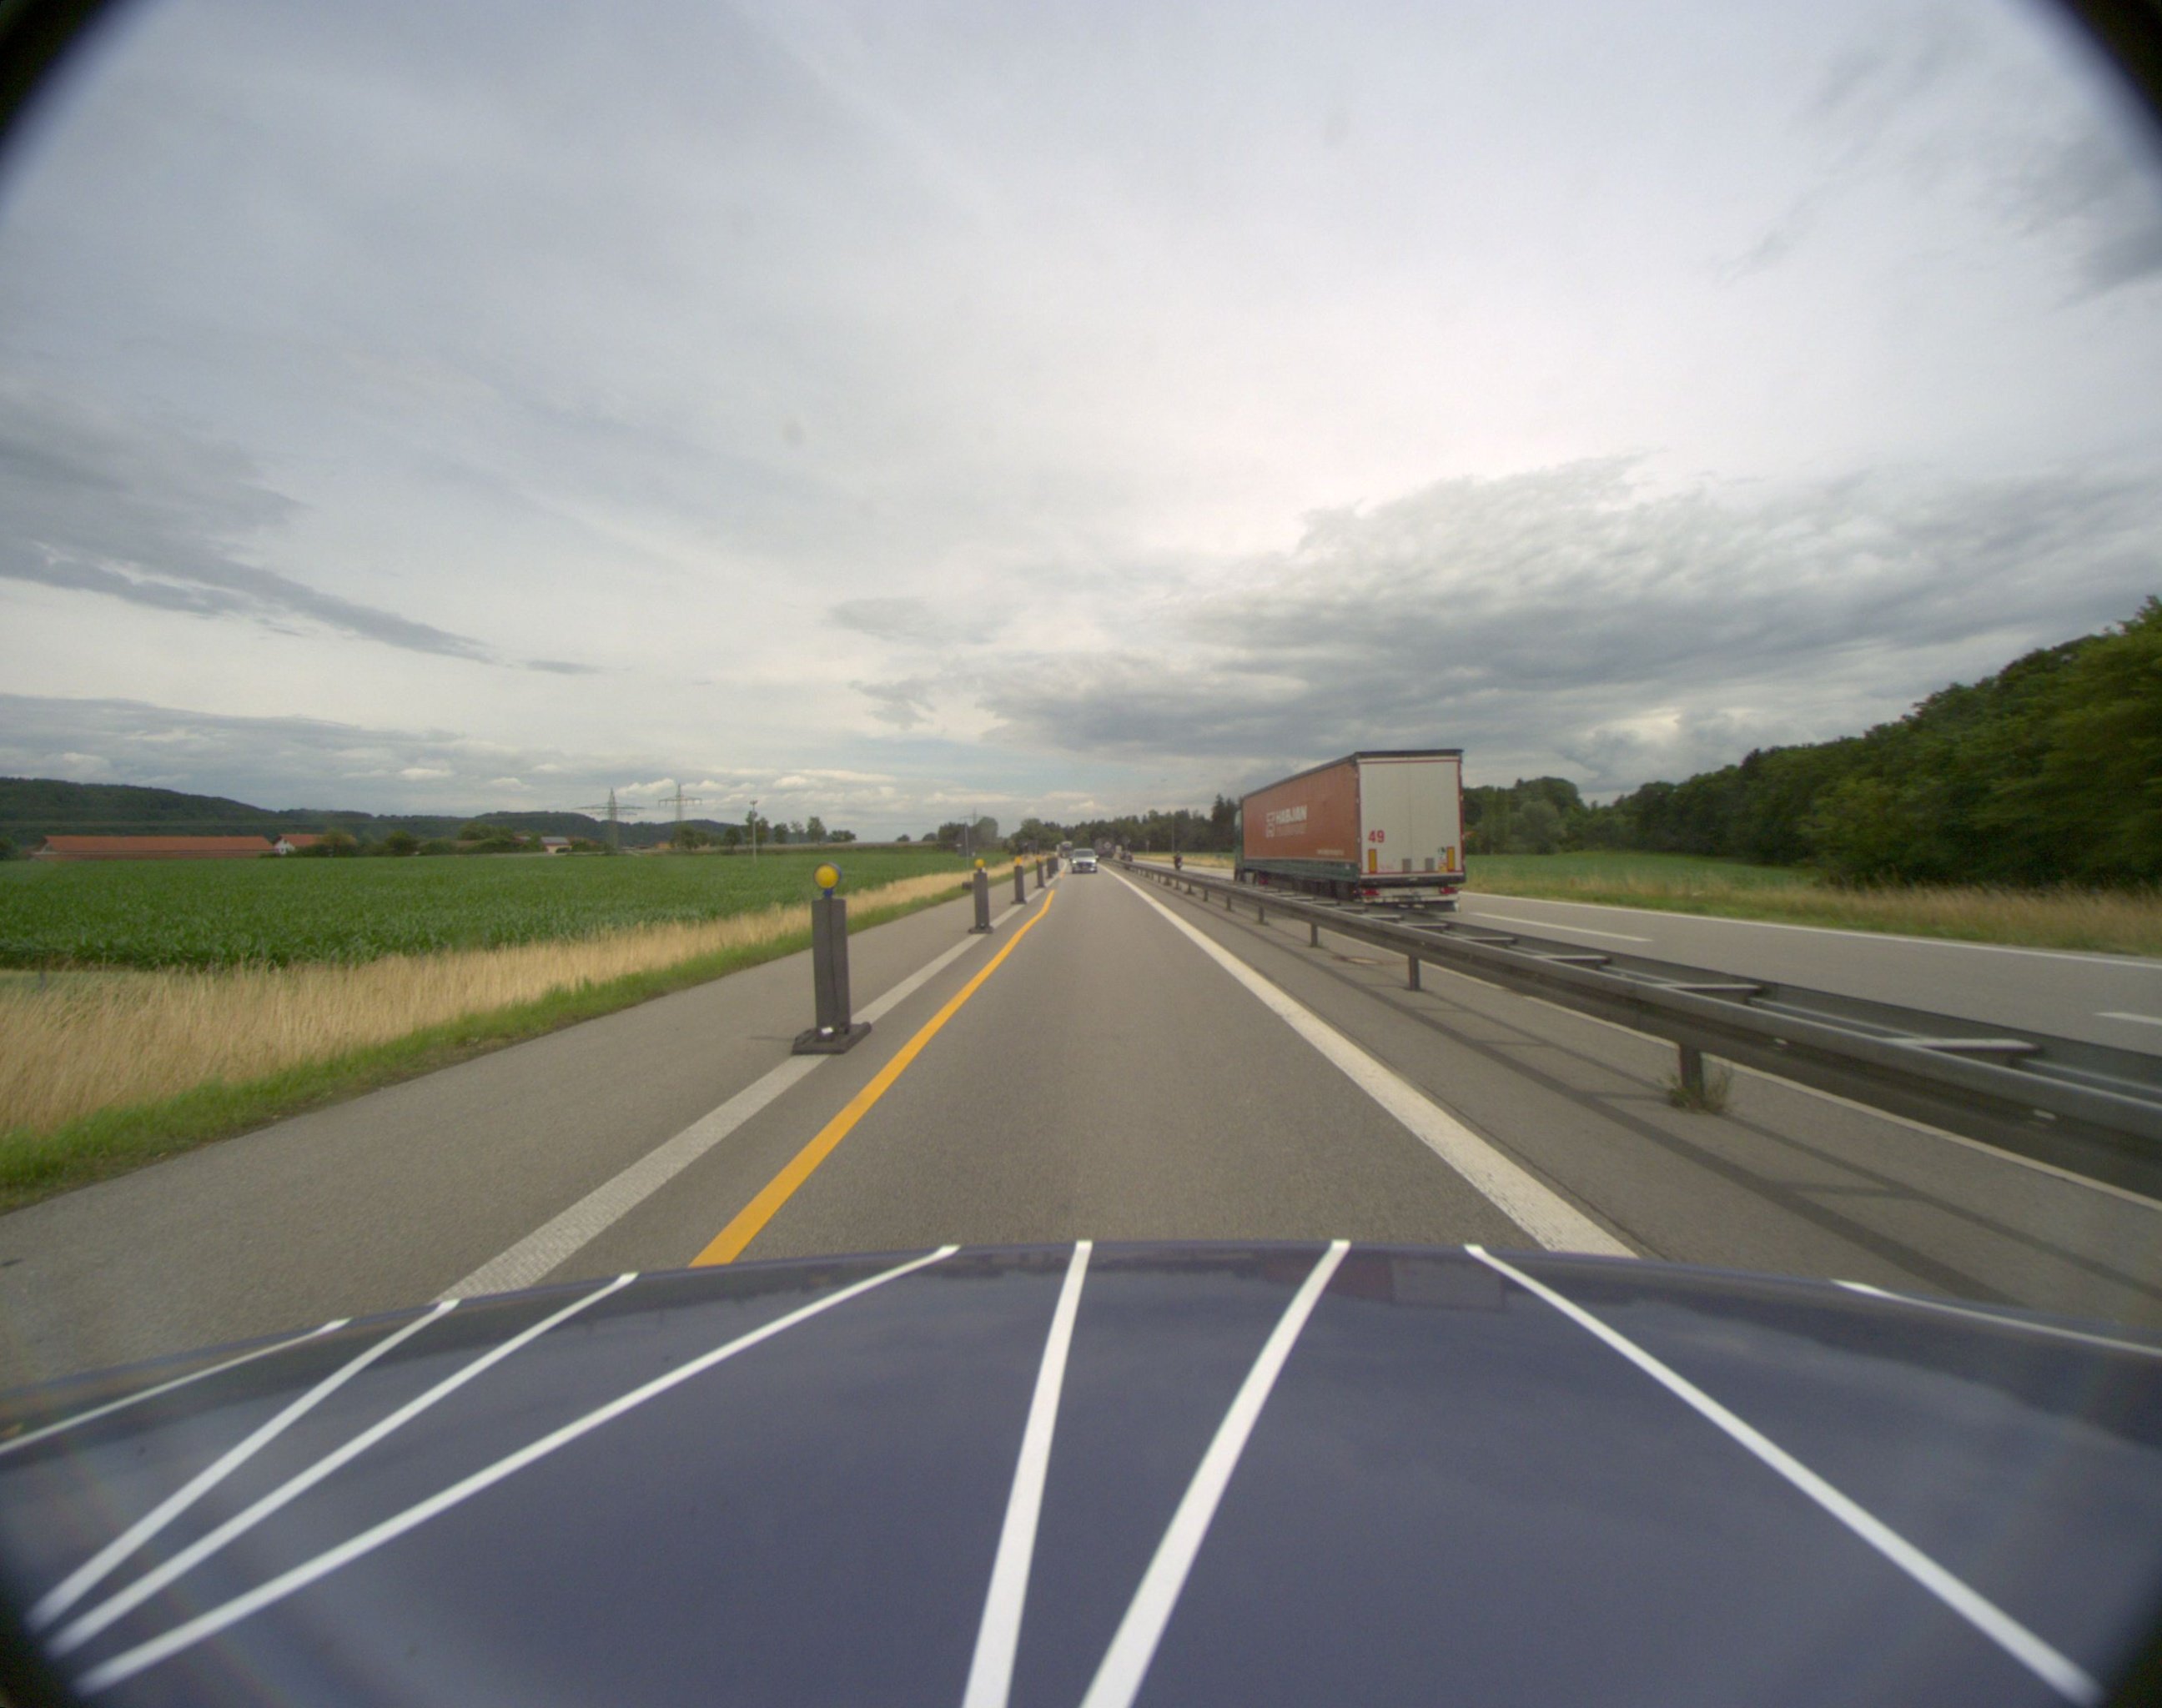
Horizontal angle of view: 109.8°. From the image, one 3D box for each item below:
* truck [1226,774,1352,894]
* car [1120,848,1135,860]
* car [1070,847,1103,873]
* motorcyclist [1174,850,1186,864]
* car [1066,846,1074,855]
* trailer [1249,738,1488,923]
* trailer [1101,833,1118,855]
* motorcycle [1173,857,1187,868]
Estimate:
[{"bbox_3d":[8.146,-0.795,30.735,3.131,4.189,6.779,-2,1,0],"label":"truck"},{"bbox_3d":[7.221,-0.069,118.421,1.999,1.674,4.232,-2,1,-1],"label":"car"},{"bbox_3d":[0.360,0.440,58.939,1.925,1.823,3.996,-3,1,-8],"label":"car"},{"bbox_3d":[8.760,0.285,67.409,0.863,1.202,0.960,-2,1,0],"label":"motorcyclist"},{"bbox_3d":[-2.751,-0.939,191.853,1.998,2.002,3.999,-2,1,1],"label":"car"},{"bbox_3d":[7.991,-0.651,23.550,3.158,4.189,11.641,-2,1,1],"label":"trailer"},{"bbox_3d":[5.769,-2.099,156.578,2.806,4.149,13.560,-2,1,0],"label":"trailer"},{"bbox_3d":[8.781,0.746,67.379,0.857,0.929,2.724,-2,0,0],"label":"motorcycle"}]
